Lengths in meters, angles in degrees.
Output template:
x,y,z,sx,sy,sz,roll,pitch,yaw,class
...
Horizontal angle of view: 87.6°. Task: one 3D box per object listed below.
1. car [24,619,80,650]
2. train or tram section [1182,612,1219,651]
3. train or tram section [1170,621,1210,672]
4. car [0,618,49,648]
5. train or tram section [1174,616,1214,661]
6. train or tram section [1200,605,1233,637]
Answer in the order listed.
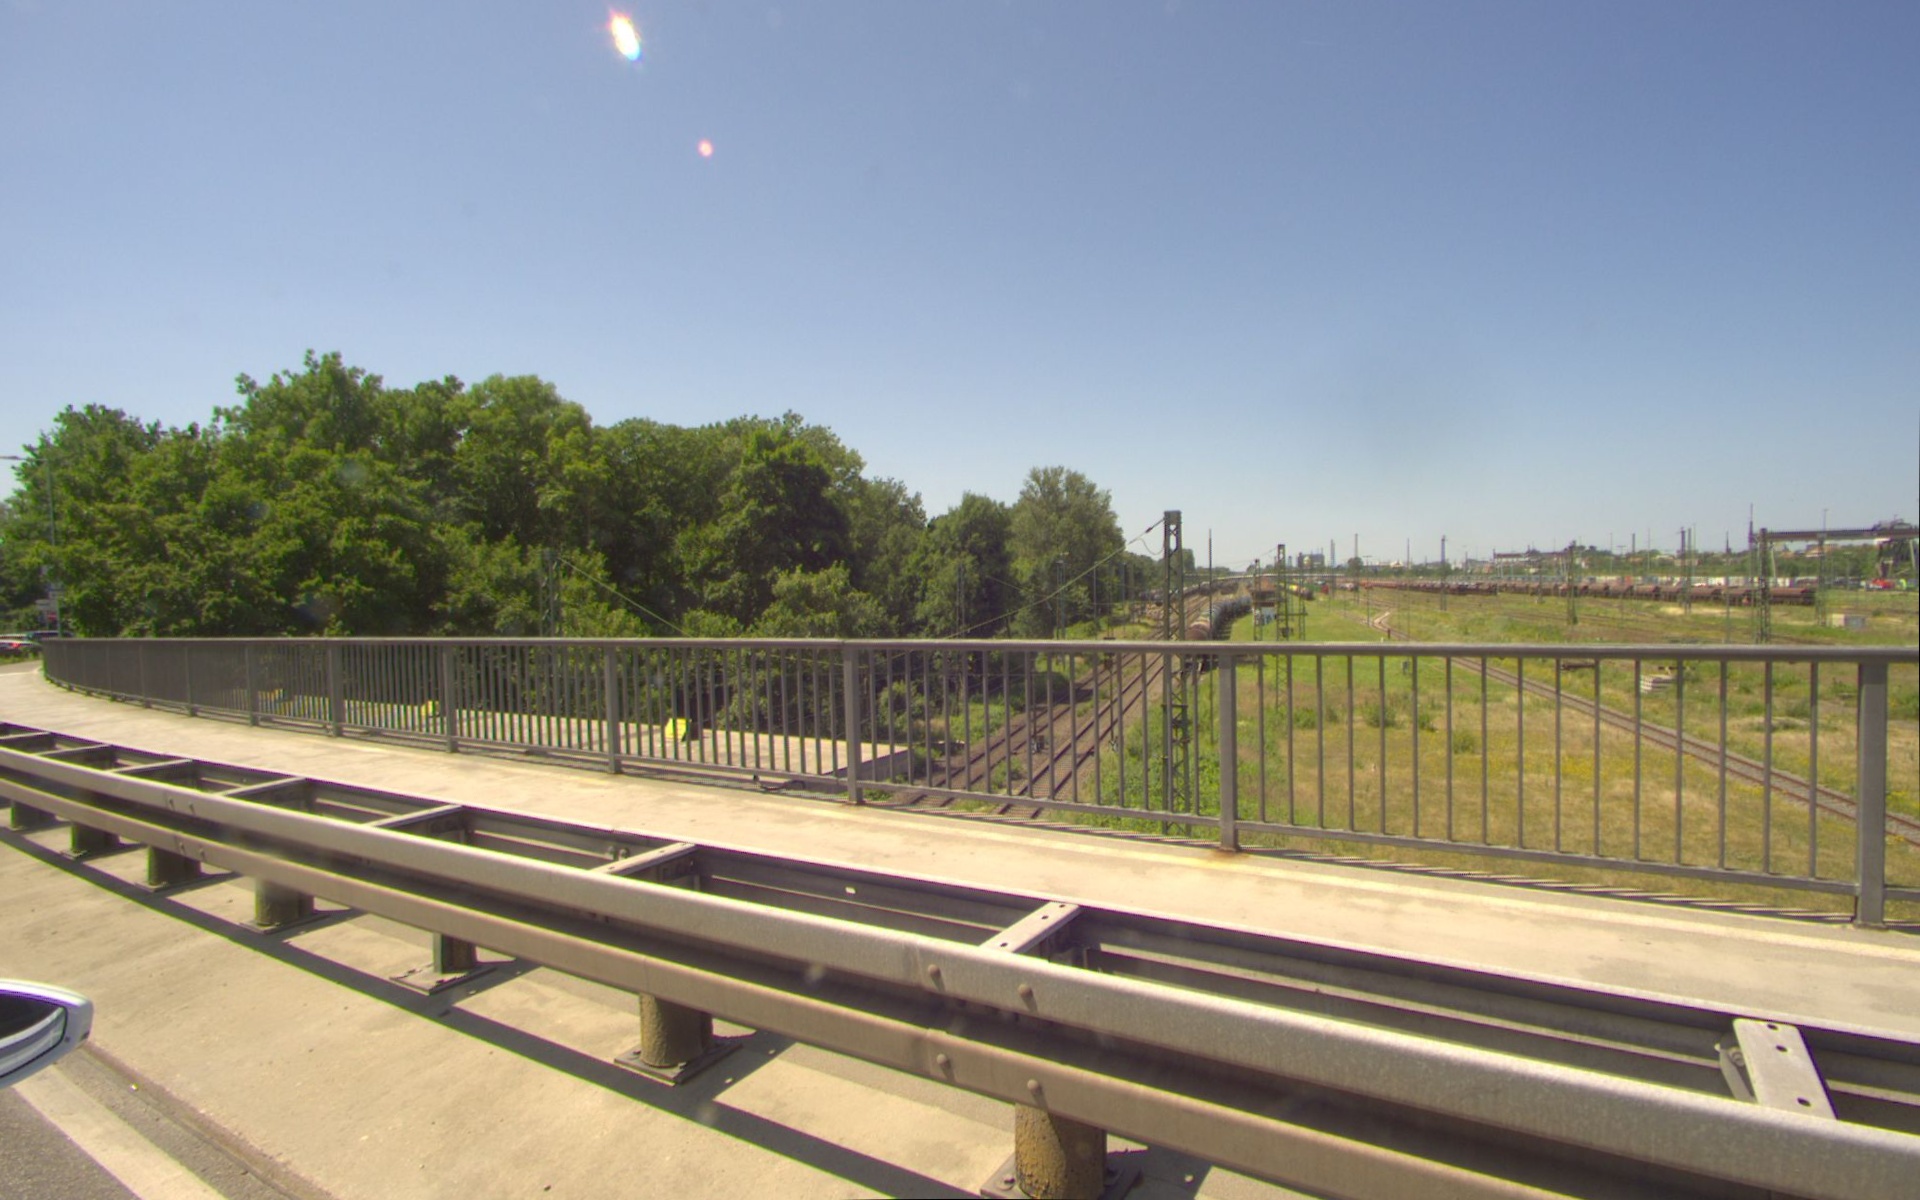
x,y,z,sx,sy,sz,roll,pitch,yaw,class
-56.113,2.133,61.919,1.666,1.783,3.982,0,-2,-29,car
32.088,4.057,133.160,3.783,4.366,13.603,-2,1,18,train or tram section
24.649,4.851,106.972,3.781,4.366,13.612,-2,1,14,train or tram section
-52.946,1.865,56.133,1.972,1.594,3.981,2,-4,-31,car
28.196,4.462,120.154,3.783,4.366,13.605,-2,1,17,train or tram section
40.795,3.248,158.875,3.784,4.366,13.599,-2,1,19,train or tram section
